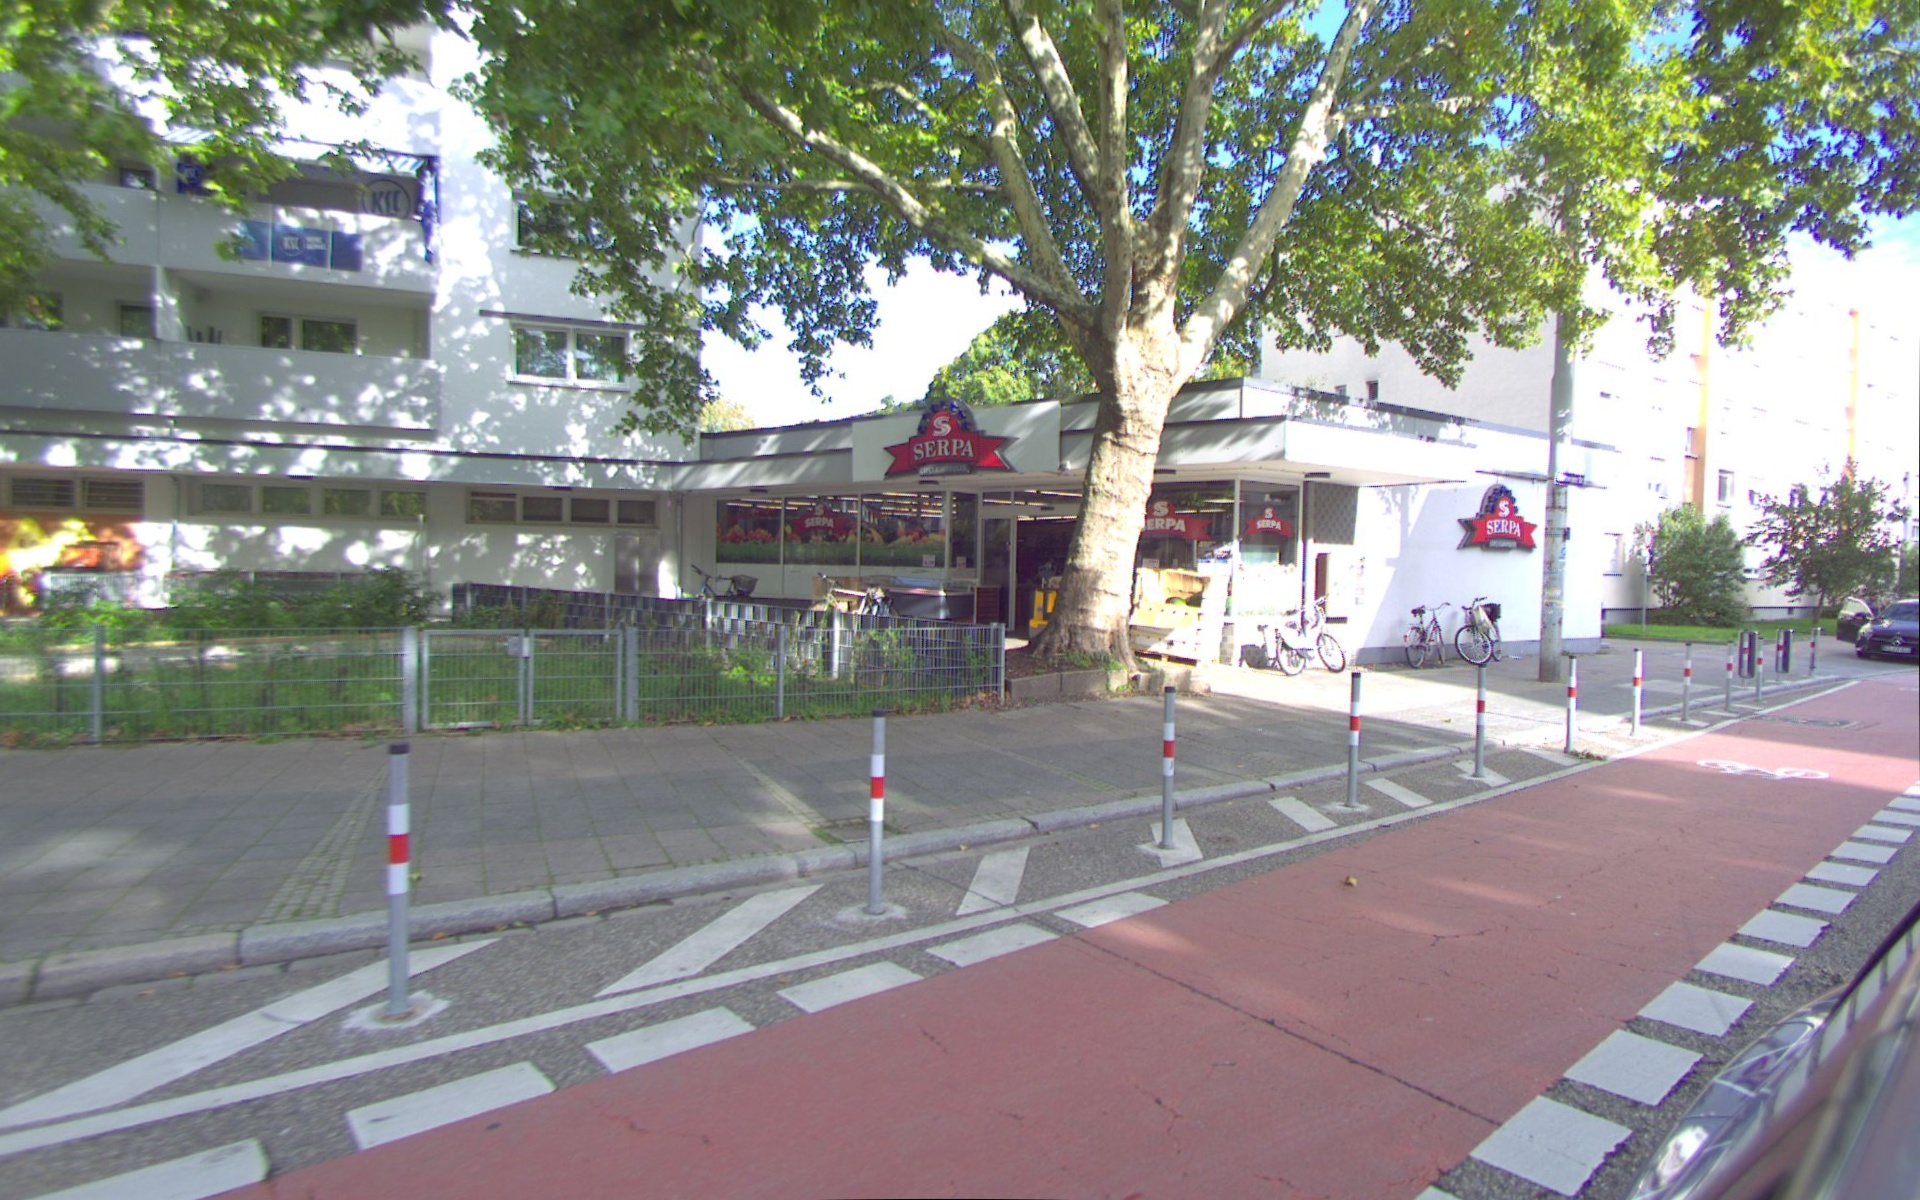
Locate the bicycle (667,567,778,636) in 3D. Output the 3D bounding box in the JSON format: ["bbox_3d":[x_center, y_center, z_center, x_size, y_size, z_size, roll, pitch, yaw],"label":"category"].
[{"bbox_3d":[-3.981,0.003,17.093,0.688,1.084,1.832,3,3,35],"label":"bicycle"}]

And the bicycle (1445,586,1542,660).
[{"bbox_3d":[9.730,0.388,18.435,1.781,1.220,0.772,-1,5,-36],"label":"bicycle"}]

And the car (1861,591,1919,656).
[{"bbox_3d":[23.524,0.549,24.377,4.152,1.429,1.767,0,3,-35],"label":"car"}]

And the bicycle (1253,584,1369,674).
[{"bbox_3d":[5.288,0.403,15.206,1.782,1.220,0.715,-1,5,-37],"label":"bicycle"}]

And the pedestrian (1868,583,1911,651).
[{"bbox_3d":[23.187,0.405,25.241,0.729,1.666,0.654,0,1,-38],"label":"pedestrian"}]

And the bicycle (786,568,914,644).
[{"bbox_3d":[-1.688,0.110,15.490,1.817,1.053,0.749,3,-4,-16],"label":"bicycle"}]

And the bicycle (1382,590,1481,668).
[{"bbox_3d":[8.082,0.468,17.325,1.737,1.220,0.713,-1,5,-36],"label":"bicycle"}]
